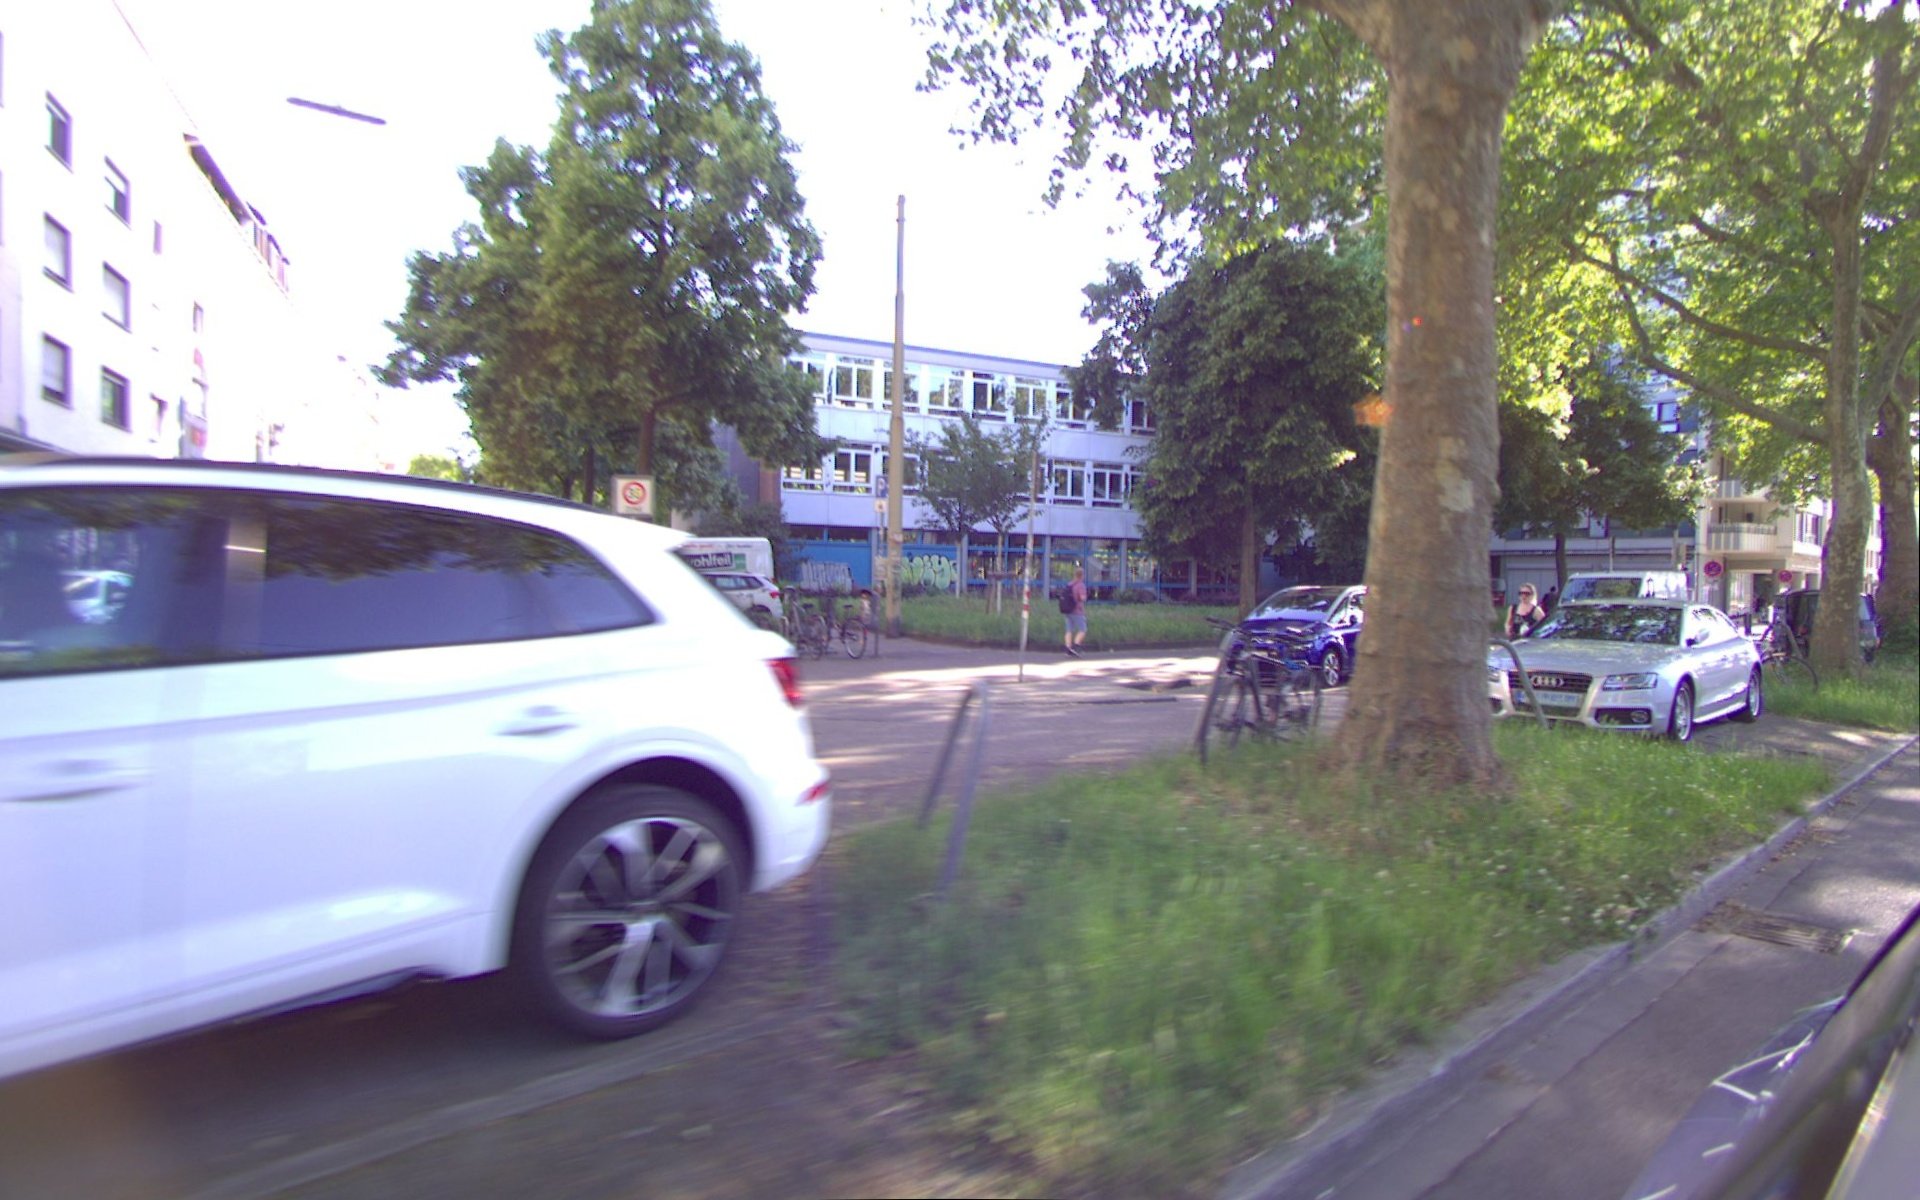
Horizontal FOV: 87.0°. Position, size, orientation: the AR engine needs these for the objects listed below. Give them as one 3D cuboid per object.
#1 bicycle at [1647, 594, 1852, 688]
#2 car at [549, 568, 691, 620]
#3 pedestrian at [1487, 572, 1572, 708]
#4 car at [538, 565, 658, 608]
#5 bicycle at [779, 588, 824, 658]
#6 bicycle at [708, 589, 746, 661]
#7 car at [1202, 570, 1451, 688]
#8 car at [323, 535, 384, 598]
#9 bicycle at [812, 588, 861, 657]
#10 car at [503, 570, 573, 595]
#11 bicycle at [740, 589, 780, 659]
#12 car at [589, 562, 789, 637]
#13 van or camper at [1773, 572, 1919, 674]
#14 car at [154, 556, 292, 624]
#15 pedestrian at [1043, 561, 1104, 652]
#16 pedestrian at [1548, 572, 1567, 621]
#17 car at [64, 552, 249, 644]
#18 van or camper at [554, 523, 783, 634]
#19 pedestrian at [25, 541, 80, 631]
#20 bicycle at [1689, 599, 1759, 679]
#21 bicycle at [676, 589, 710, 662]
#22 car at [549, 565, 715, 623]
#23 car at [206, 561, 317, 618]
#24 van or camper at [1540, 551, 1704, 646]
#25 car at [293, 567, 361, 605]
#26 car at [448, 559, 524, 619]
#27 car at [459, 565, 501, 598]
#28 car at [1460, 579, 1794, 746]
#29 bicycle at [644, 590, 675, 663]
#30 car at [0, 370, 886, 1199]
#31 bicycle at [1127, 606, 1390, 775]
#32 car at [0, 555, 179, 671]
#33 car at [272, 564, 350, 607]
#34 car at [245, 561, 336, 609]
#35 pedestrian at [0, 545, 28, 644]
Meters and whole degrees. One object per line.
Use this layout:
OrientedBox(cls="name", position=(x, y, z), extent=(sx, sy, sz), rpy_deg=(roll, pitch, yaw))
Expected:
OrientedBox(cls="bicycle", position=(10.522, 0.500, 13.559), extent=(0.665, 1.138, 2.073), rpy_deg=(0, 1, -41))
OrientedBox(cls="car", position=(-11.444, -0.218, 34.070), extent=(4.299, 1.648, 2.003), rpy_deg=(0, 1, -26))
OrientedBox(cls="pedestrian", position=(7.138, 0.489, 12.694), extent=(0.700, 1.631, 0.688), rpy_deg=(1, -2, -41))
OrientedBox(cls="car", position=(-14.430, -0.538, 40.324), extent=(4.299, 1.648, 2.003), rpy_deg=(0, 1, -26))
OrientedBox(cls="bicycle", position=(-2.783, 0.369, 17.604), extent=(0.497, 1.117, 2.150), rpy_deg=(0, 1, -16))
OrientedBox(cls="bicycle", position=(-3.983, 0.386, 17.214), extent=(0.497, 1.117, 2.150), rpy_deg=(0, 1, -16))
OrientedBox(cls="car", position=(6.469, 0.401, 17.544), extent=(5.077, 1.763, 1.823), rpy_deg=(0, 1, -41))
OrientedBox(cls="car", position=(-30.967, -1.693, 51.828), extent=(2.057, 3.023, 5.520), rpy_deg=(0, 1, -25))
OrientedBox(cls="bicycle", position=(-2.202, 0.358, 17.831), extent=(0.497, 1.117, 2.202), rpy_deg=(0, 1, -16))
OrientedBox(cls="car", position=(-28.642, -1.194, 68.737), extent=(4.299, 1.648, 2.003), rpy_deg=(0, 1, -26))
OrientedBox(cls="bicycle", position=(-3.450, 0.375, 17.375), extent=(0.497, 1.117, 2.150), rpy_deg=(0, 1, -16))
OrientedBox(cls="car", position=(-6.450, -0.025, 24.083), extent=(4.299, 1.648, 2.003), rpy_deg=(0, 1, -26))
OrientedBox(cls="van or camper", position=(15.287, 0.344, 17.556), extent=(1.494, 1.608, 2.807), rpy_deg=(1, 1, 32))
OrientedBox(cls="car", position=(-18.432, -0.267, 25.523), extent=(1.958, 1.556, 4.404), rpy_deg=(0, 1, -25))
OrientedBox(cls="pedestrian", position=(2.144, 0.121, 19.149), extent=(0.887, 1.672, 0.682), rpy_deg=(1, 0, -34))
OrientedBox(cls="pedestrian", position=(21.227, -0.114, 35.958), extent=(0.577, 1.717, 0.619), rpy_deg=(1, 1, 32))
OrientedBox(cls="car", position=(-16.303, -0.072, 20.802), extent=(1.958, 1.665, 4.404), rpy_deg=(0, 1, -25))
OrientedBox(cls="van or camper", position=(-7.606, -0.530, 26.483), extent=(5.472, 2.669, 2.158), rpy_deg=(0, 1, -25))
OrientedBox(cls="pedestrian", position=(-18.902, -0.301, 21.088), extent=(0.675, 1.831, 0.725), rpy_deg=(0, 1, -26))
OrientedBox(cls="bicycle", position=(11.413, 0.545, 15.095), extent=(0.756, 1.092, 1.860), rpy_deg=(1, 1, 39))
OrientedBox(cls="bicycle", position=(-4.513, 0.391, 17.063), extent=(0.497, 1.117, 2.150), rpy_deg=(0, 1, -16))
OrientedBox(cls="car", position=(-10.177, -0.193, 31.415), extent=(4.647, 1.690, 2.003), rpy_deg=(0, 1, -26))
OrientedBox(cls="car", position=(-20.632, -0.322, 30.099), extent=(1.958, 1.556, 4.404), rpy_deg=(0, 1, -25))
OrientedBox(cls="van or camper", position=(18.064, -0.065, 27.474), extent=(5.722, 2.315, 2.295), rpy_deg=(0, 1, -41))
OrientedBox(cls="car", position=(-27.742, -0.617, 44.495), extent=(1.958, 1.556, 4.404), rpy_deg=(0, 1, -25))
OrientedBox(cls="car", position=(-15.042, -0.372, 32.243), extent=(1.958, 1.648, 4.398), rpy_deg=(4, 0, -24))
OrientedBox(cls="car", position=(-27.180, -1.048, 57.382), extent=(1.958, 1.648, 4.398), rpy_deg=(4, 0, -24))
OrientedBox(cls="car", position=(7.344, 0.508, 10.903), extent=(4.938, 1.415, 1.756), rpy_deg=(0, 1, -41))
OrientedBox(cls="bicycle", position=(-5.008, 0.406, 16.929), extent=(0.463, 1.117, 2.150), rpy_deg=(0, 1, -16))
OrientedBox(cls="car", position=(-2.622, 0.360, 2.580), extent=(4.744, 1.656, 1.905), rpy_deg=(0, 1, -44))
OrientedBox(cls="bicycle", position=(2.049, 0.526, 6.751), extent=(2.127, 0.937, 0.640), rpy_deg=(0, 1, -41))
OrientedBox(cls="car", position=(-14.261, 0.141, 16.085), extent=(1.959, 1.600, 4.609), rpy_deg=(0, 1, -25))
OrientedBox(cls="car", position=(-25.342, -0.567, 39.680), extent=(1.958, 1.556, 4.404), rpy_deg=(0, 1, -25))
OrientedBox(cls="car", position=(-23.113, -0.528, 35.106), extent=(1.958, 1.556, 4.404), rpy_deg=(0, 1, -25))
OrientedBox(cls="pedestrian", position=(-16.581, -0.103, 17.376), extent=(0.675, 1.670, 0.725), rpy_deg=(0, 1, -26))
